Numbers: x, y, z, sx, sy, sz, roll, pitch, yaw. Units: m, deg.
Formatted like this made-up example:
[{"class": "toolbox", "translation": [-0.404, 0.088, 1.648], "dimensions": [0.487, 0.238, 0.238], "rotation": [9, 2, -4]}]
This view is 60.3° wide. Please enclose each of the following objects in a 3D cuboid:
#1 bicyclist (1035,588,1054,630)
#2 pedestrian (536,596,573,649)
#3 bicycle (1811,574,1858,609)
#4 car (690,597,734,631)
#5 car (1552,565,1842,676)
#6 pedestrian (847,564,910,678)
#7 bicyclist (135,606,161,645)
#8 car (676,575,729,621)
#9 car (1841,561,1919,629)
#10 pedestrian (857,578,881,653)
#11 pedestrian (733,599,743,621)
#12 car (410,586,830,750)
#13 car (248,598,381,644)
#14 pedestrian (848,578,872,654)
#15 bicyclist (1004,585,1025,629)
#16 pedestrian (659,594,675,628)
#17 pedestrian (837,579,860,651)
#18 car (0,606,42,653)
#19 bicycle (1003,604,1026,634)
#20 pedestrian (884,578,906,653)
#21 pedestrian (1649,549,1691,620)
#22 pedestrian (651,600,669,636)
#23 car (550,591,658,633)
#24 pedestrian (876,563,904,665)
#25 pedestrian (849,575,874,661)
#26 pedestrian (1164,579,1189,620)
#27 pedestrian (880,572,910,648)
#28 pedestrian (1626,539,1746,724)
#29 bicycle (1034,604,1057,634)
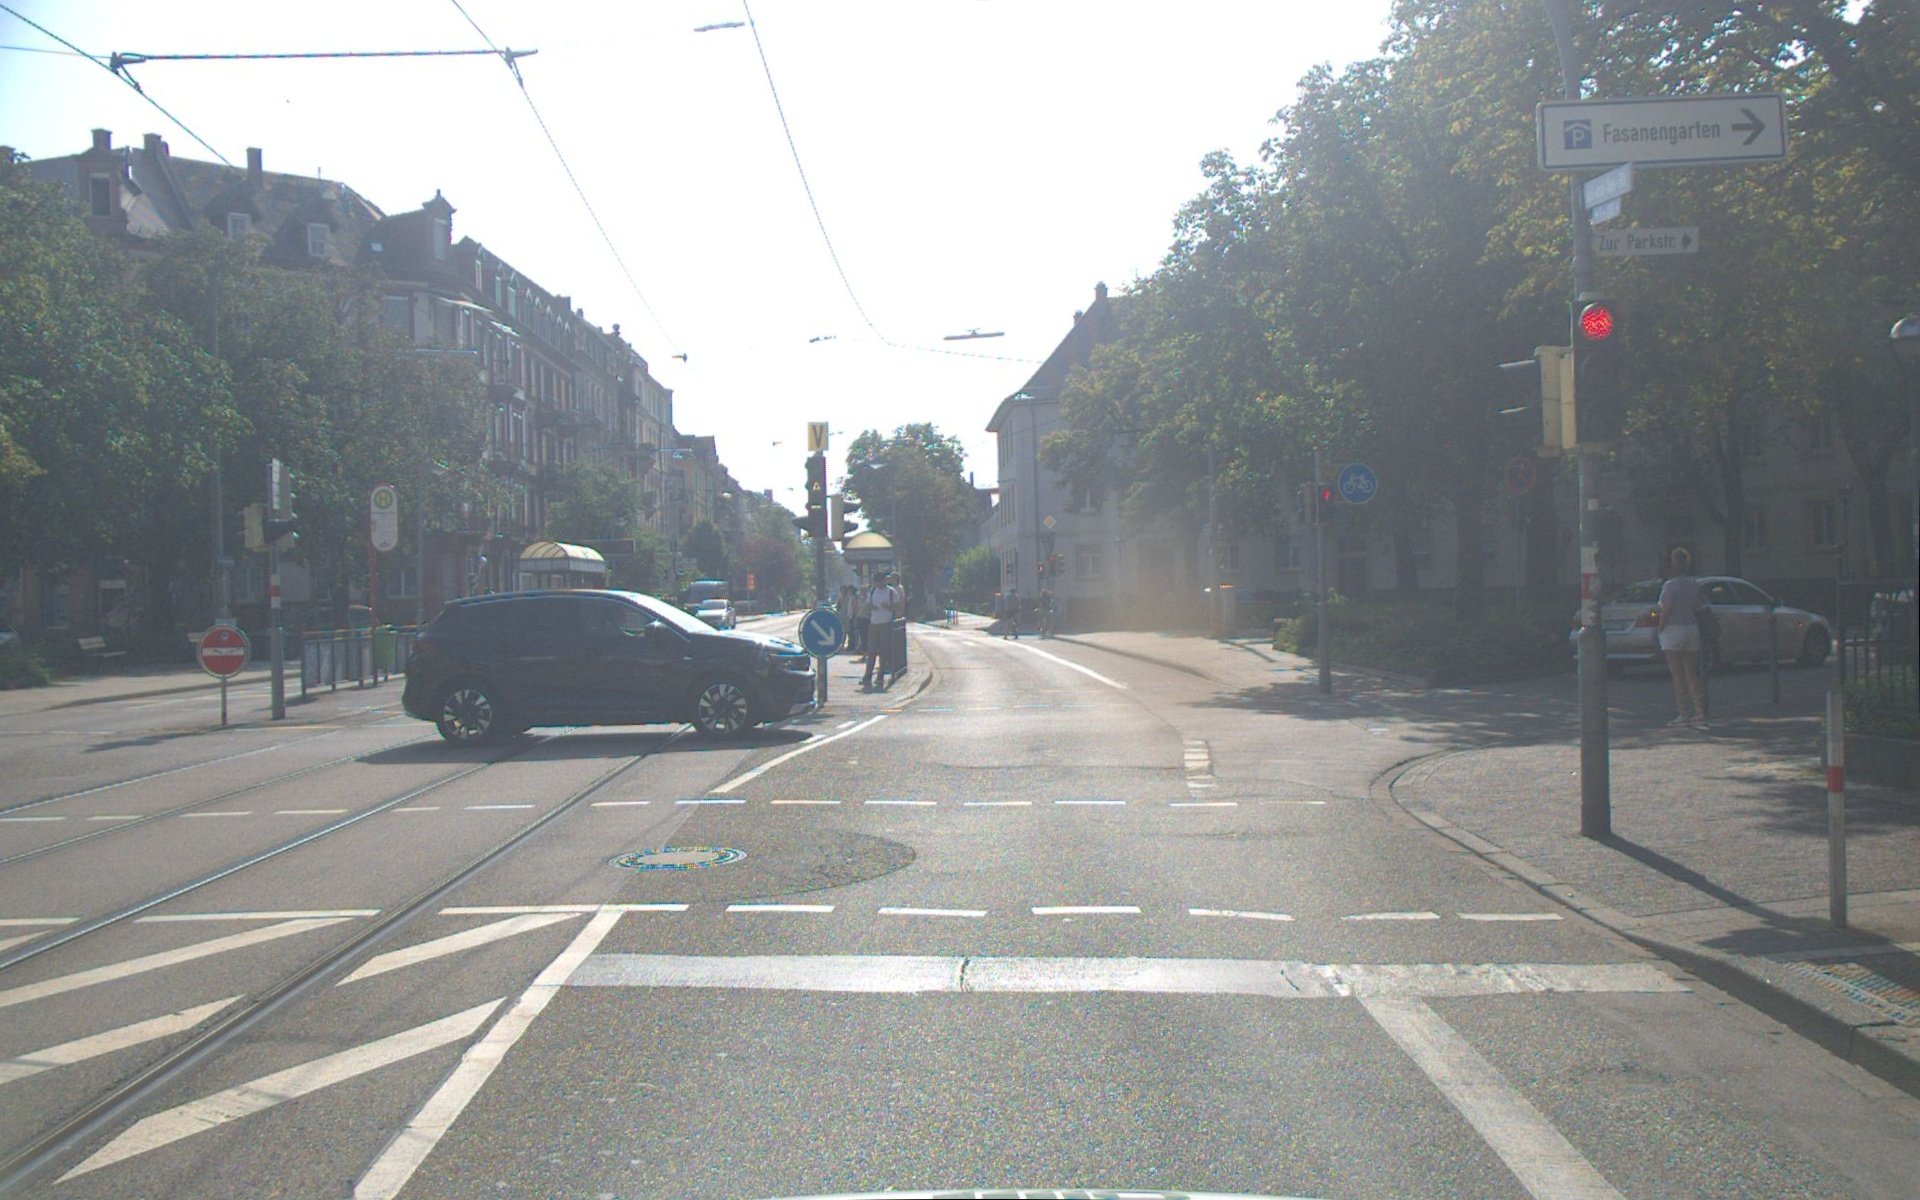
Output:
[{"class": "bicyclist", "translation": [2.952, 0.301, 57.890], "dimensions": [0.547, 1.441, 0.871], "rotation": [-2, 0, -4]}, {"class": "pedestrian", "translation": [-10.738, 0.591, 43.811], "dimensions": [0.812, 1.382, 0.775], "rotation": [-2, 0, -7]}, {"class": "bicycle", "translation": [25.644, -0.260, 48.529], "dimensions": [0.416, 0.995, 1.554], "rotation": [-2, 0, -5]}, {"class": "car", "translation": [-13.017, 0.727, 87.035], "dimensions": [1.765, 1.682, 3.641], "rotation": [-2, 0, -1]}, {"class": "car", "translation": [11.429, 0.297, 25.533], "dimensions": [4.729, 1.492, 1.848], "rotation": [-2, -2, -34]}, {"class": "pedestrian", "translation": [-1.304, 0.321, 26.555], "dimensions": [0.687, 1.755, 0.746], "rotation": [2, 3, 30]}, {"class": "bicyclist", "translation": [-29.144, 0.912, 59.372], "dimensions": [0.808, 1.351, 0.544], "rotation": [-2, 0, -26]}, {"class": "car", "translation": [-15.859, -0.109, 102.077], "dimensions": [2.299, 2.708, 5.106], "rotation": [-2, 0, 2]}, {"class": "car", "translation": [21.226, -0.131, 35.662], "dimensions": [1.721, 1.453, 4.135], "rotation": [-2, 0, -11]}, {"class": "pedestrian", "translation": [-2.214, 0.372, 40.312], "dimensions": [0.532, 1.790, 0.534], "rotation": [1, 2, -2]}, {"class": "pedestrian", "translation": [-17.676, 0.794, 131.645], "dimensions": [0.736, 1.761, 0.769], "rotation": [-2, 0, -11]}, {"class": "car", "translation": [-3.544, 0.688, 17.756], "dimensions": [4.128, 1.541, 1.612], "rotation": [-2, 1, -1]}, {"class": "car", "translation": [-24.367, 0.774, 62.469], "dimensions": [4.294, 1.596, 1.972], "rotation": [-2, 0, -39]}, {"class": "pedestrian", "translation": [-2.391, 0.382, 39.496], "dimensions": [0.532, 1.790, 0.534], "rotation": [1, 2, -2]}, {"class": "bicyclist", "translation": [1.921, 0.248, 58.197], "dimensions": [0.616, 1.534, 0.678], "rotation": [-2, 0, -4]}, {"class": "pedestrian", "translation": [-15.305, 0.569, 86.338], "dimensions": [0.736, 1.761, 0.769], "rotation": [-2, 0, -11]}, {"class": "pedestrian", "translation": [-2.815, 0.375, 41.709], "dimensions": [0.521, 1.790, 0.545], "rotation": [1, 2, -1]}, {"class": "car", "translation": [-34.523, 1.069, 57.555], "dimensions": [4.229, 1.596, 2.002], "rotation": [-2, 0, 12]}, {"class": "bicycle", "translation": [1.921, 0.670, 58.297], "dimensions": [0.616, 0.995, 1.769], "rotation": [-2, 0, -4]}, {"class": "pedestrian", "translation": [-1.585, 0.370, 40.333], "dimensions": [0.494, 1.790, 0.534], "rotation": [1, 2, -2]}, {"class": "pedestrian", "translation": [18.088, -0.402, 42.152], "dimensions": [0.872, 1.771, 0.776], "rotation": [-2, 0, 17]}, {"class": "pedestrian", "translation": [-15.154, 0.907, 83.493], "dimensions": [0.734, 1.761, 0.771], "rotation": [-2, 0, 0]}, {"class": "car", "translation": [-14.836, 0.480, 68.848], "dimensions": [4.253, 1.596, 1.991], "rotation": [-2, 0, -17]}, {"class": "pedestrian", "translation": [-1.298, 0.257, 30.822], "dimensions": [0.494, 1.865, 0.534], "rotation": [1, 2, -2]}, {"class": "pedestrian", "translation": [-2.109, 0.381, 35.497], "dimensions": [0.494, 1.790, 0.534], "rotation": [1, 2, -2]}, {"class": "pedestrian", "translation": [9.699, -0.028, 74.184], "dimensions": [0.874, 1.771, 0.775], "rotation": [-2, 0, 28]}, {"class": "pedestrian", "translation": [-1.554, 0.243, 39.716], "dimensions": [0.694, 1.790, 0.534], "rotation": [1, 2, -2]}, {"class": "pedestrian", "translation": [7.129, 0.299, 16.269], "dimensions": [0.736, 1.761, 0.769], "rotation": [-2, 0, -11]}, {"class": "bicycle", "translation": [2.980, 0.670, 57.707], "dimensions": [0.547, 0.995, 1.855], "rotation": [-2, 0, -4]}]
